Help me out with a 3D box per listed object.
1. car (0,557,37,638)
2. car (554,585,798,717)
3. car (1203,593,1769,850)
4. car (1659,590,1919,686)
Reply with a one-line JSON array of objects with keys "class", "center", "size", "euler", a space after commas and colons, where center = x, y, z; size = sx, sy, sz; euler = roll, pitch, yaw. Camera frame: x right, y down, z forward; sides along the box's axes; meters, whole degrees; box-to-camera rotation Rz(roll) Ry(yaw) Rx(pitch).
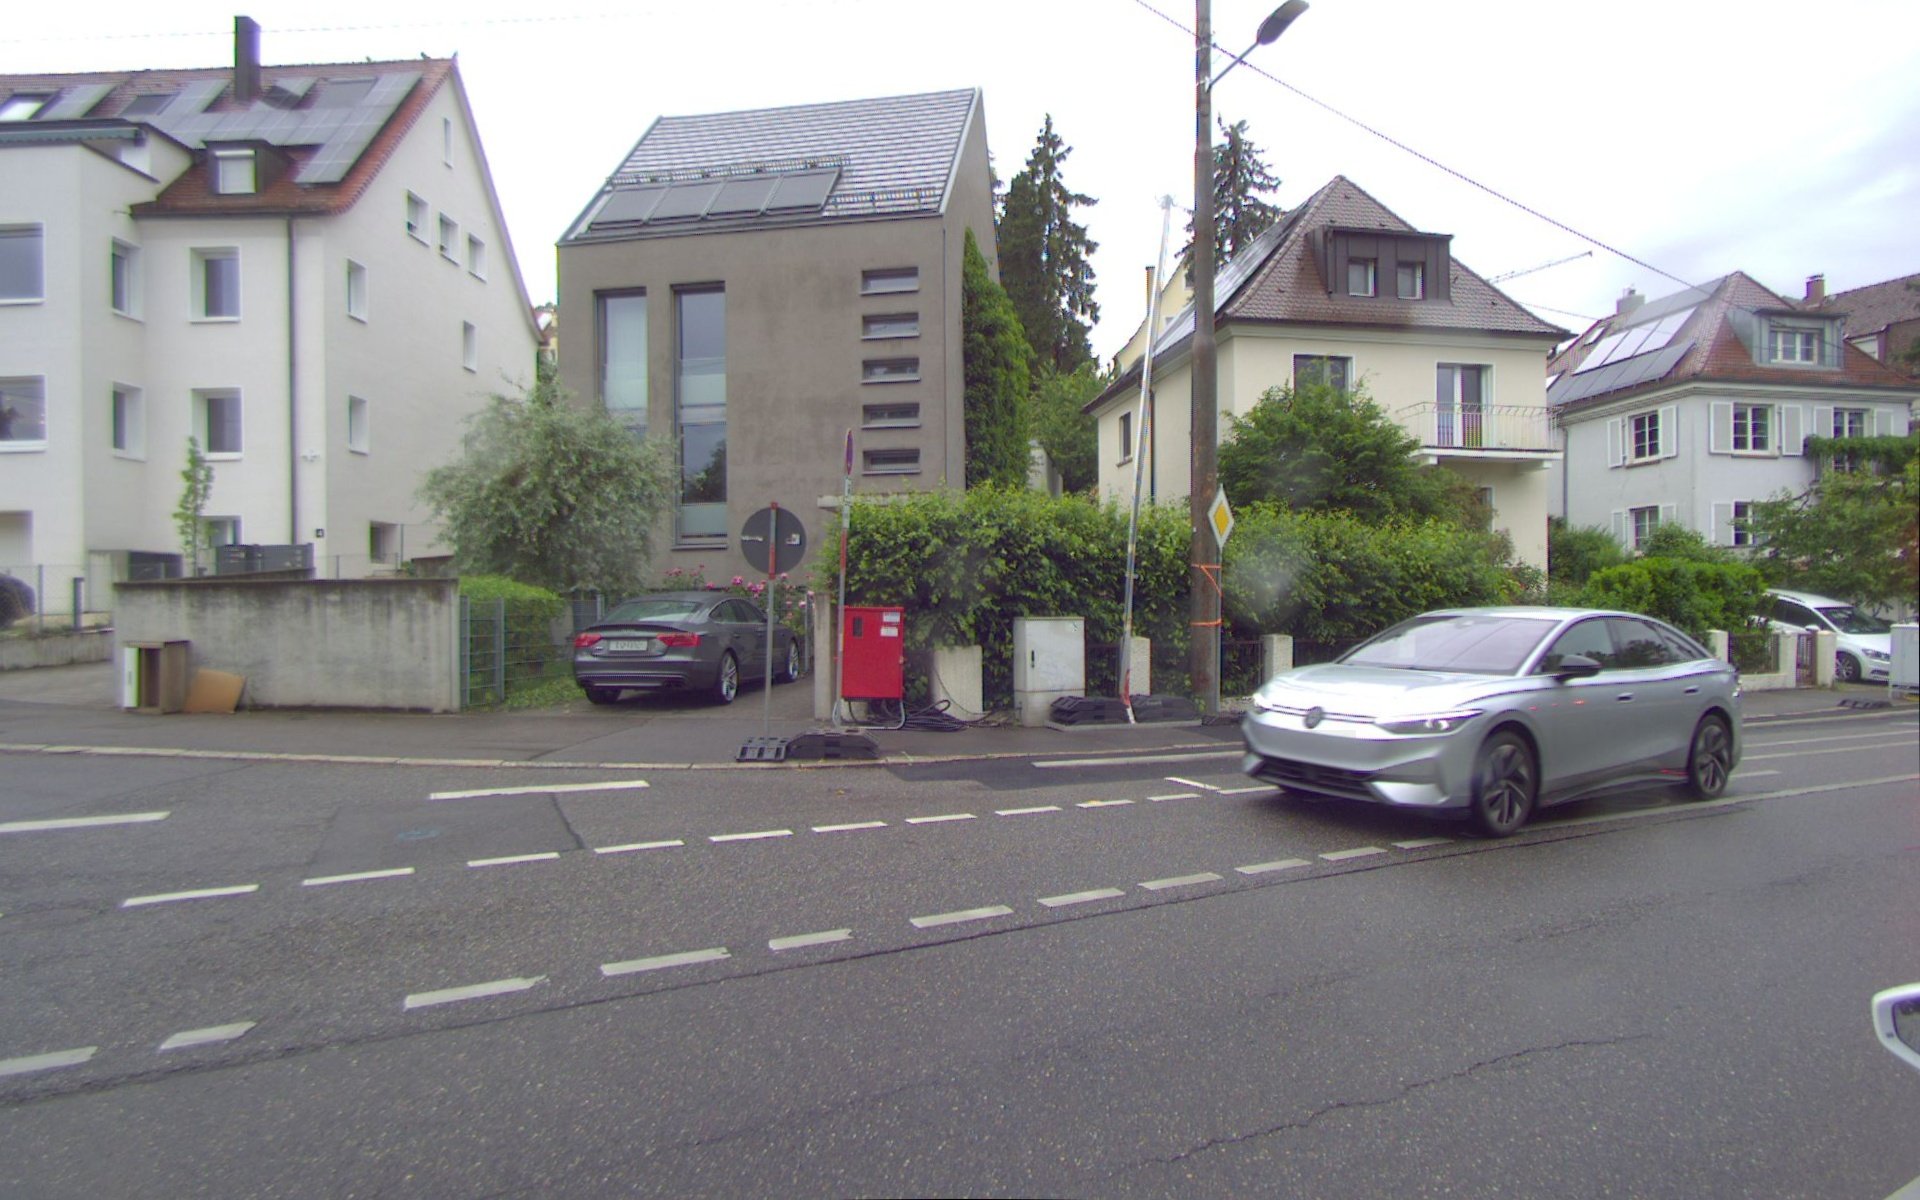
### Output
[{"class": "car", "center": [-16.735, 0.043, 15.176], "size": [1.576, 1.298, 4.008], "euler": [2, 4, 6]}, {"class": "car", "center": [-3.612, 0.559, 13.584], "size": [1.740, 1.506, 4.002], "euler": [0, 1, 7]}, {"class": "car", "center": [4.378, 0.797, 8.117], "size": [4.765, 1.547, 1.843], "euler": [2, 0, -31]}, {"class": "car", "center": [19.592, 0.813, 23.921], "size": [1.870, 2.033, 4.628], "euler": [1, 0, -18]}]
